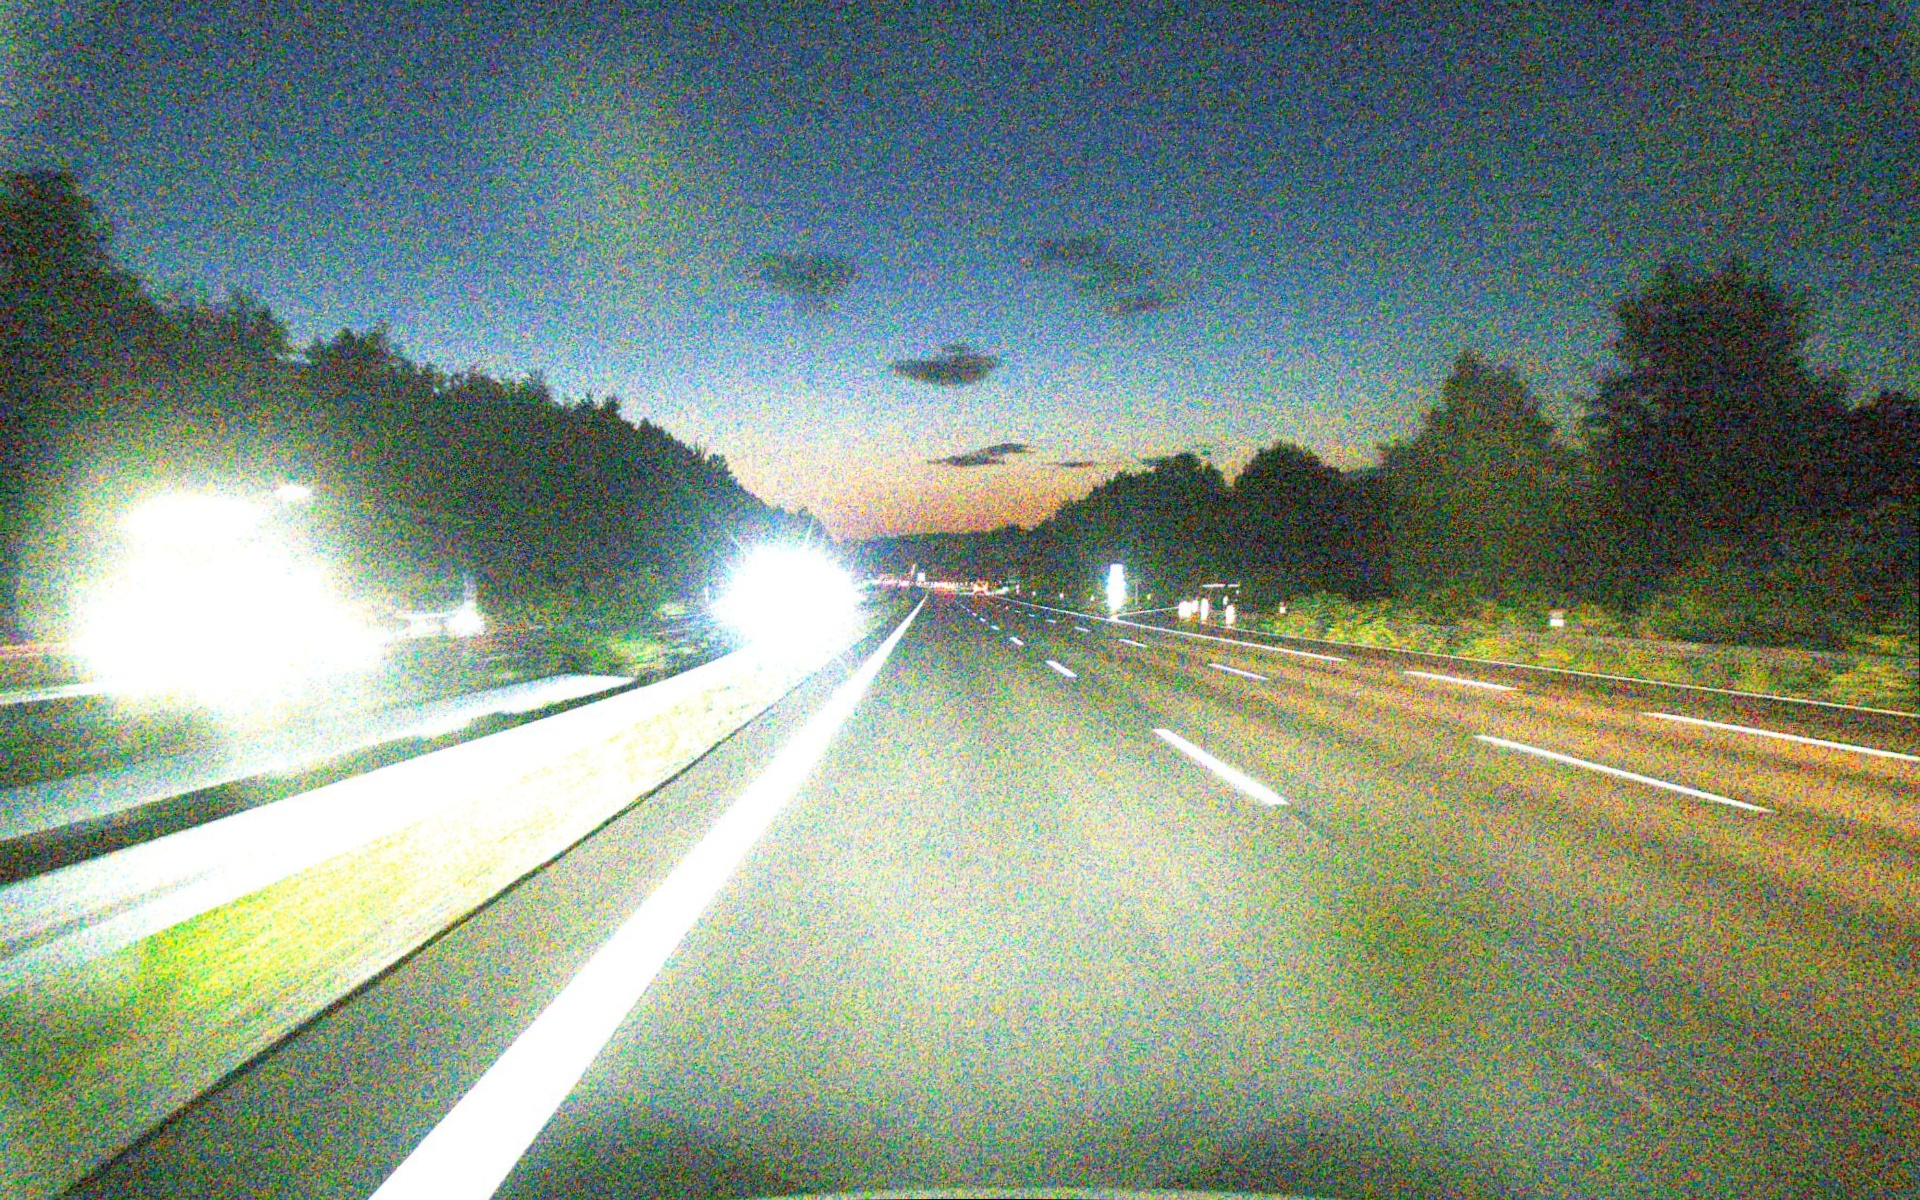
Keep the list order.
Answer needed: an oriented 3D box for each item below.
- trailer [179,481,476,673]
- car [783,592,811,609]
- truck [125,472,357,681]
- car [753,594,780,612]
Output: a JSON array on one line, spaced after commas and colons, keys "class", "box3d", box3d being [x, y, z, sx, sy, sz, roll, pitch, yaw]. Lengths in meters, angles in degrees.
[{"class": "trailer", "box3d": [-16.331, -0.521, 44.321, 2.802, 4.249, 13.900, -2, 0, -1]}, {"class": "car", "box3d": [-14.304, 0.019, 145.309, 1.953, 1.418, 5.704, -2, 0, -1]}, {"class": "truck", "box3d": [-16.070, -0.498, 37.447, 2.698, 4.285, 5.824, -2, 0, -2]}, {"class": "car", "box3d": [-17.718, 0.243, 151.816, 1.953, 1.511, 4.799, -2, 0, -1]}]
